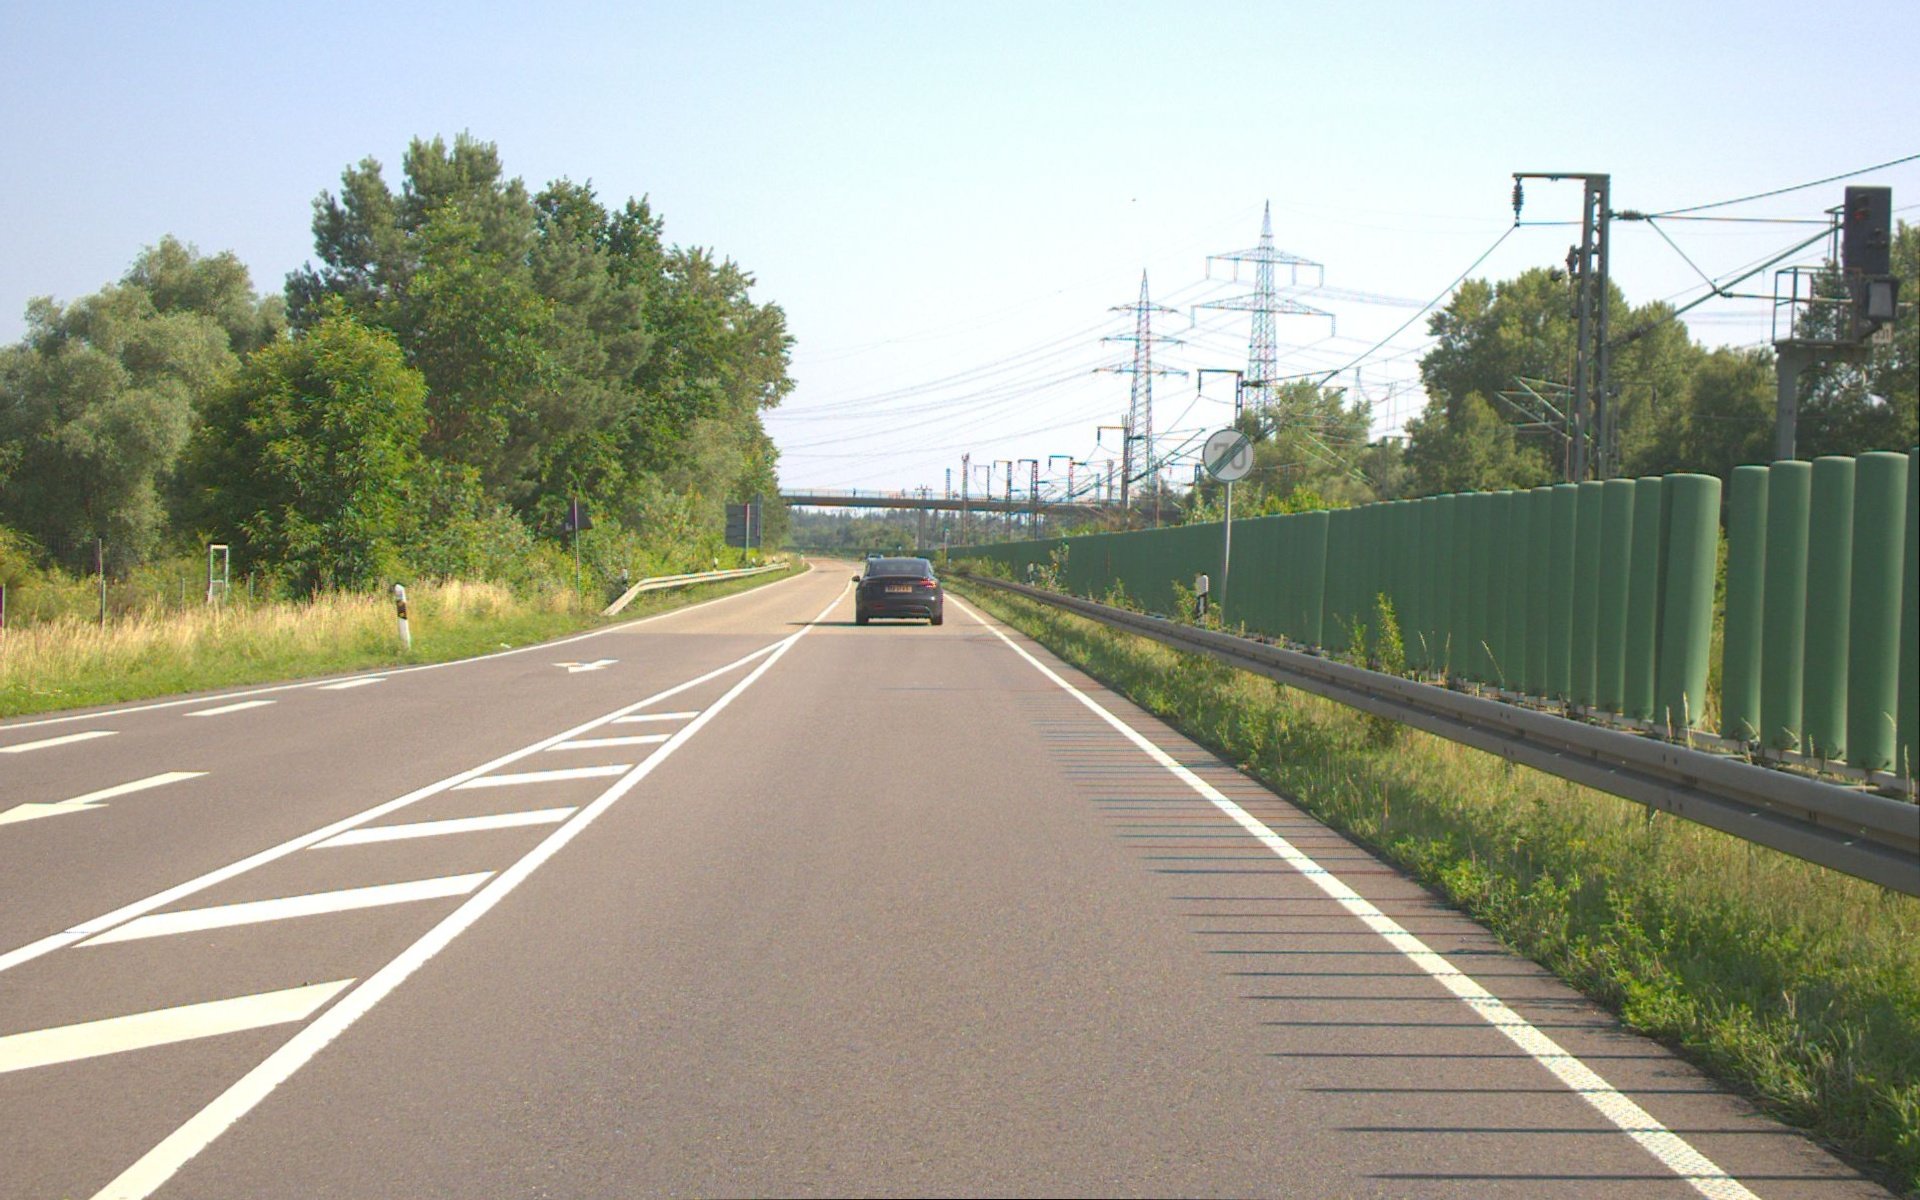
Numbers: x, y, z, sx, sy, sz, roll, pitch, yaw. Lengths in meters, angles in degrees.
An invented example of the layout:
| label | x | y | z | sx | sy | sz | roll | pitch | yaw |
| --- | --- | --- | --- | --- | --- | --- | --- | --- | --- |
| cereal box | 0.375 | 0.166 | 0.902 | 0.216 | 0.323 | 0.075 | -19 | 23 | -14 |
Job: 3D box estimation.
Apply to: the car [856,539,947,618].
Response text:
| label | x | y | z | sx | sy | sz | roll | pitch | yaw |
| --- | --- | --- | --- | --- | --- | --- | --- | --- | --- |
| car | -1.255 | -0.481 | 73.410 | 1.858 | 1.636 | 4.000 | -1 | 1 | -1 |
